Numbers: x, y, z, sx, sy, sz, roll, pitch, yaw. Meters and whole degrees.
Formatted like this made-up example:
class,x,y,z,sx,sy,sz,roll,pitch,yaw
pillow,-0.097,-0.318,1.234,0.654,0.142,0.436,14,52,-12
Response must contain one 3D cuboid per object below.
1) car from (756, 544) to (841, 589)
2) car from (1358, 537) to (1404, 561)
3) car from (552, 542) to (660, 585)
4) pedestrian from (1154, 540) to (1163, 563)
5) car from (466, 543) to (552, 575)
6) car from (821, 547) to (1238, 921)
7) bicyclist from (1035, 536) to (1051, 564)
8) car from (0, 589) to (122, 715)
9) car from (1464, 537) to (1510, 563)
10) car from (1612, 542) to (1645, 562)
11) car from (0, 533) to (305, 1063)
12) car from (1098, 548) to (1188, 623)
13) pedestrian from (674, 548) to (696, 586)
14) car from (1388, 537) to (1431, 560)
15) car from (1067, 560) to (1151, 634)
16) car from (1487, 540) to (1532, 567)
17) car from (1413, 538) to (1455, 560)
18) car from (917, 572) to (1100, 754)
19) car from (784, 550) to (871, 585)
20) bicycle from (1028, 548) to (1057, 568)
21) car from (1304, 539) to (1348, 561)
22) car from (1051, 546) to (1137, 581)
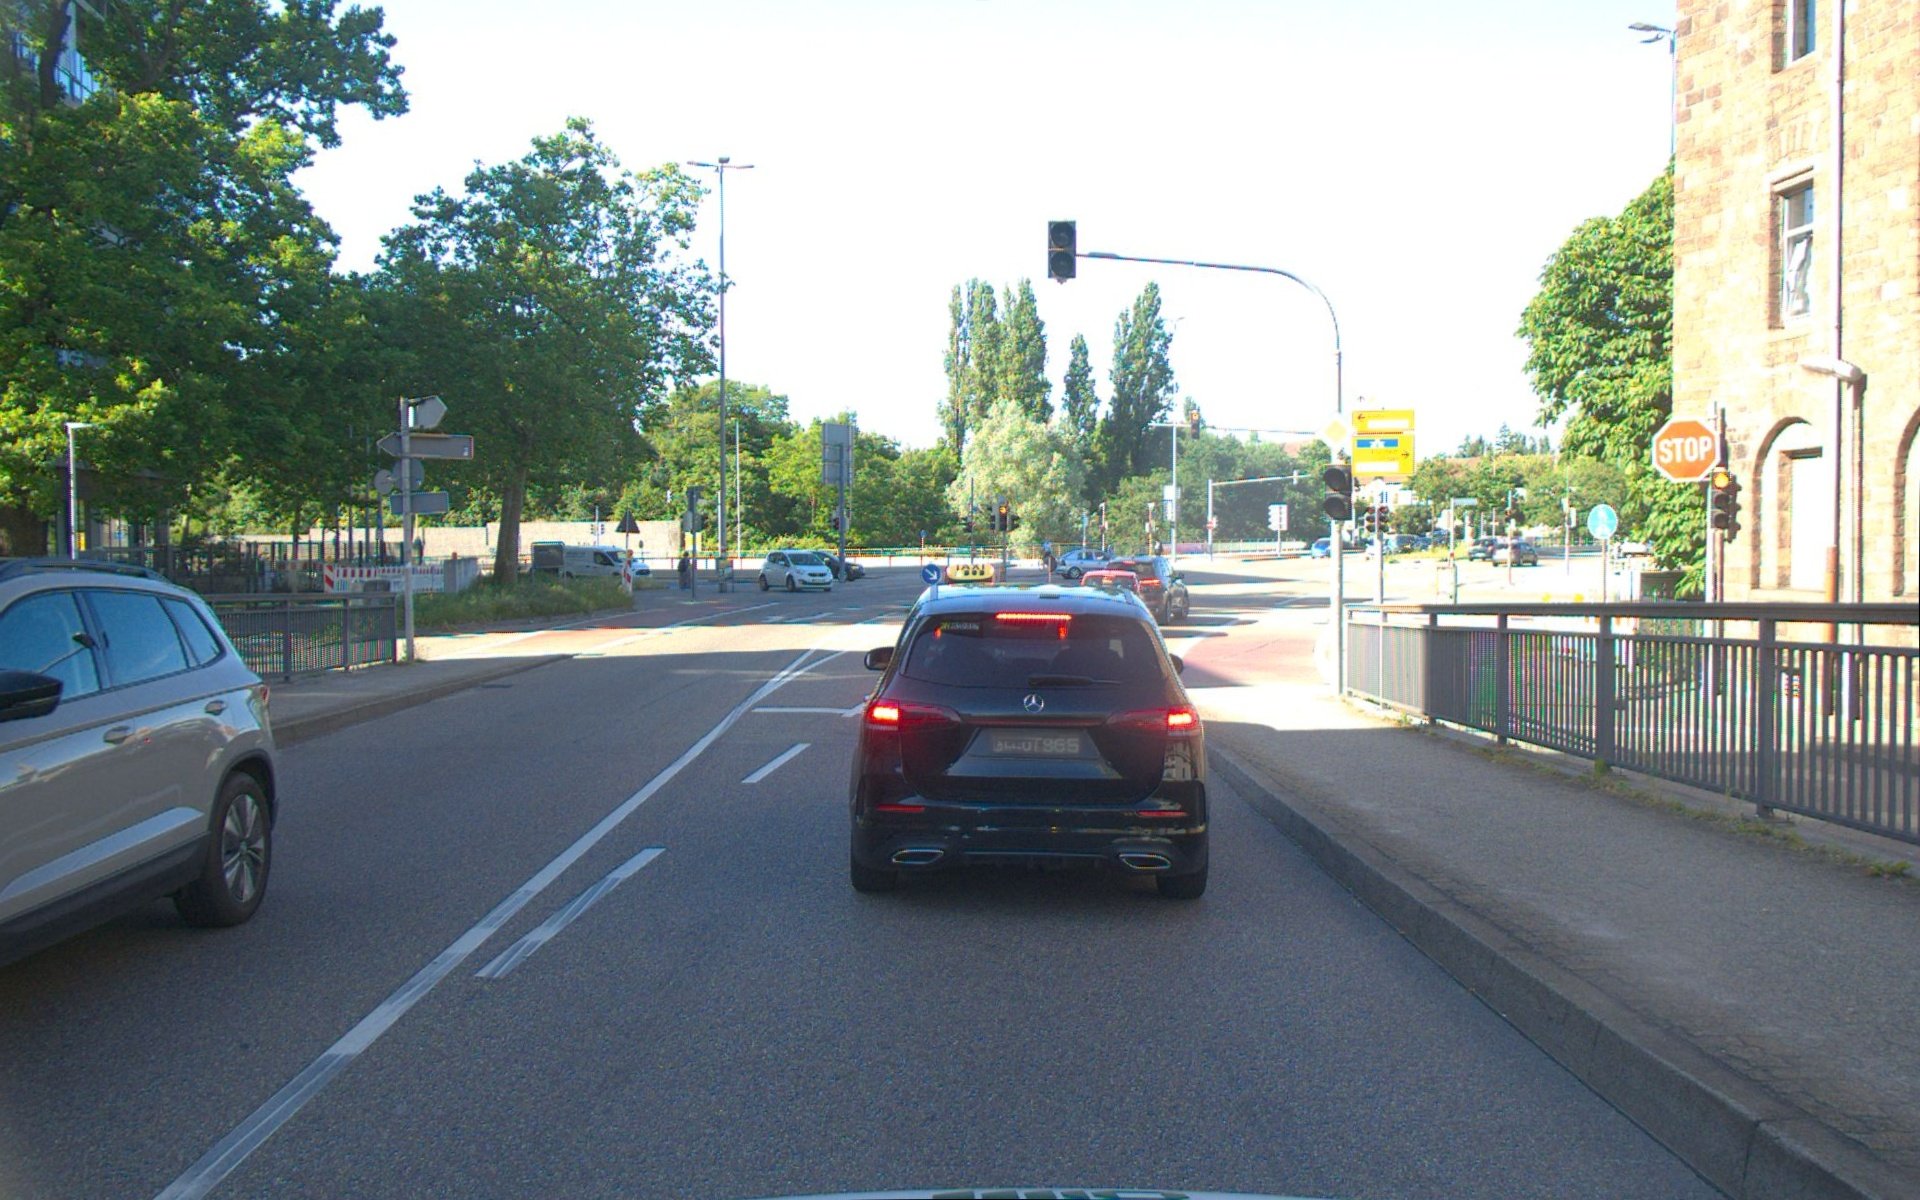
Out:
class,x,y,z,sx,sy,sz,roll,pitch,yaw
car,-6.417,-1.358,65.432,1.761,1.663,3.957,-3,3,-32
car,29.258,-3.548,114.877,1.846,1.605,3.987,1,2,35
car,-16.064,-1.630,74.959,4.795,1.825,1.919,0,2,33
pedestrian,13.870,-3.411,115.605,0.443,1.613,0.499,0,2,40
car,-23.574,-2.153,86.540,3.902,1.658,1.892,0,1,16
car,0.281,0.574,9.377,1.839,1.641,3.999,1,1,-1
bicyclist,4.675,-2.821,93.133,0.518,1.578,0.802,0,2,41
car,-14.804,0.746,25.438,1.814,1.722,4.000,0,2,-1
car,34.572,-3.254,108.488,1.852,1.574,3.987,1,0,34
car,49.969,-3.610,123.628,1.955,1.389,4.311,0,3,27
car,-3.918,0.624,5.828,1.768,1.652,3.998,-1,1,-3
car,5.006,-0.439,44.783,1.685,1.843,4.301,0,3,17
pedestrian,-11.215,-1.339,67.486,0.690,1.552,0.744,1,1,10
car,32.653,-3.737,120.091,1.846,1.605,3.987,1,2,35
car,3.562,-0.114,39.041,1.685,1.548,3.490,0,3,10
car,32.693,-2.746,98.389,1.707,1.524,3.991,0,0,31
car,36.205,-3.886,126.281,1.846,1.605,3.987,1,2,35
car,0.478,0.533,16.541,1.606,1.556,3.475,-1,2,1
car,-6.486,-1.606,80.930,3.902,1.658,1.893,0,1,8
bicycle,4.679,-2.362,93.159,0.518,1.068,1.979,0,2,40
car,27.626,-3.798,124.702,1.846,1.605,3.987,1,2,35
car,6.544,-1.788,81.107,3.911,1.658,1.888,-1,1,-7
